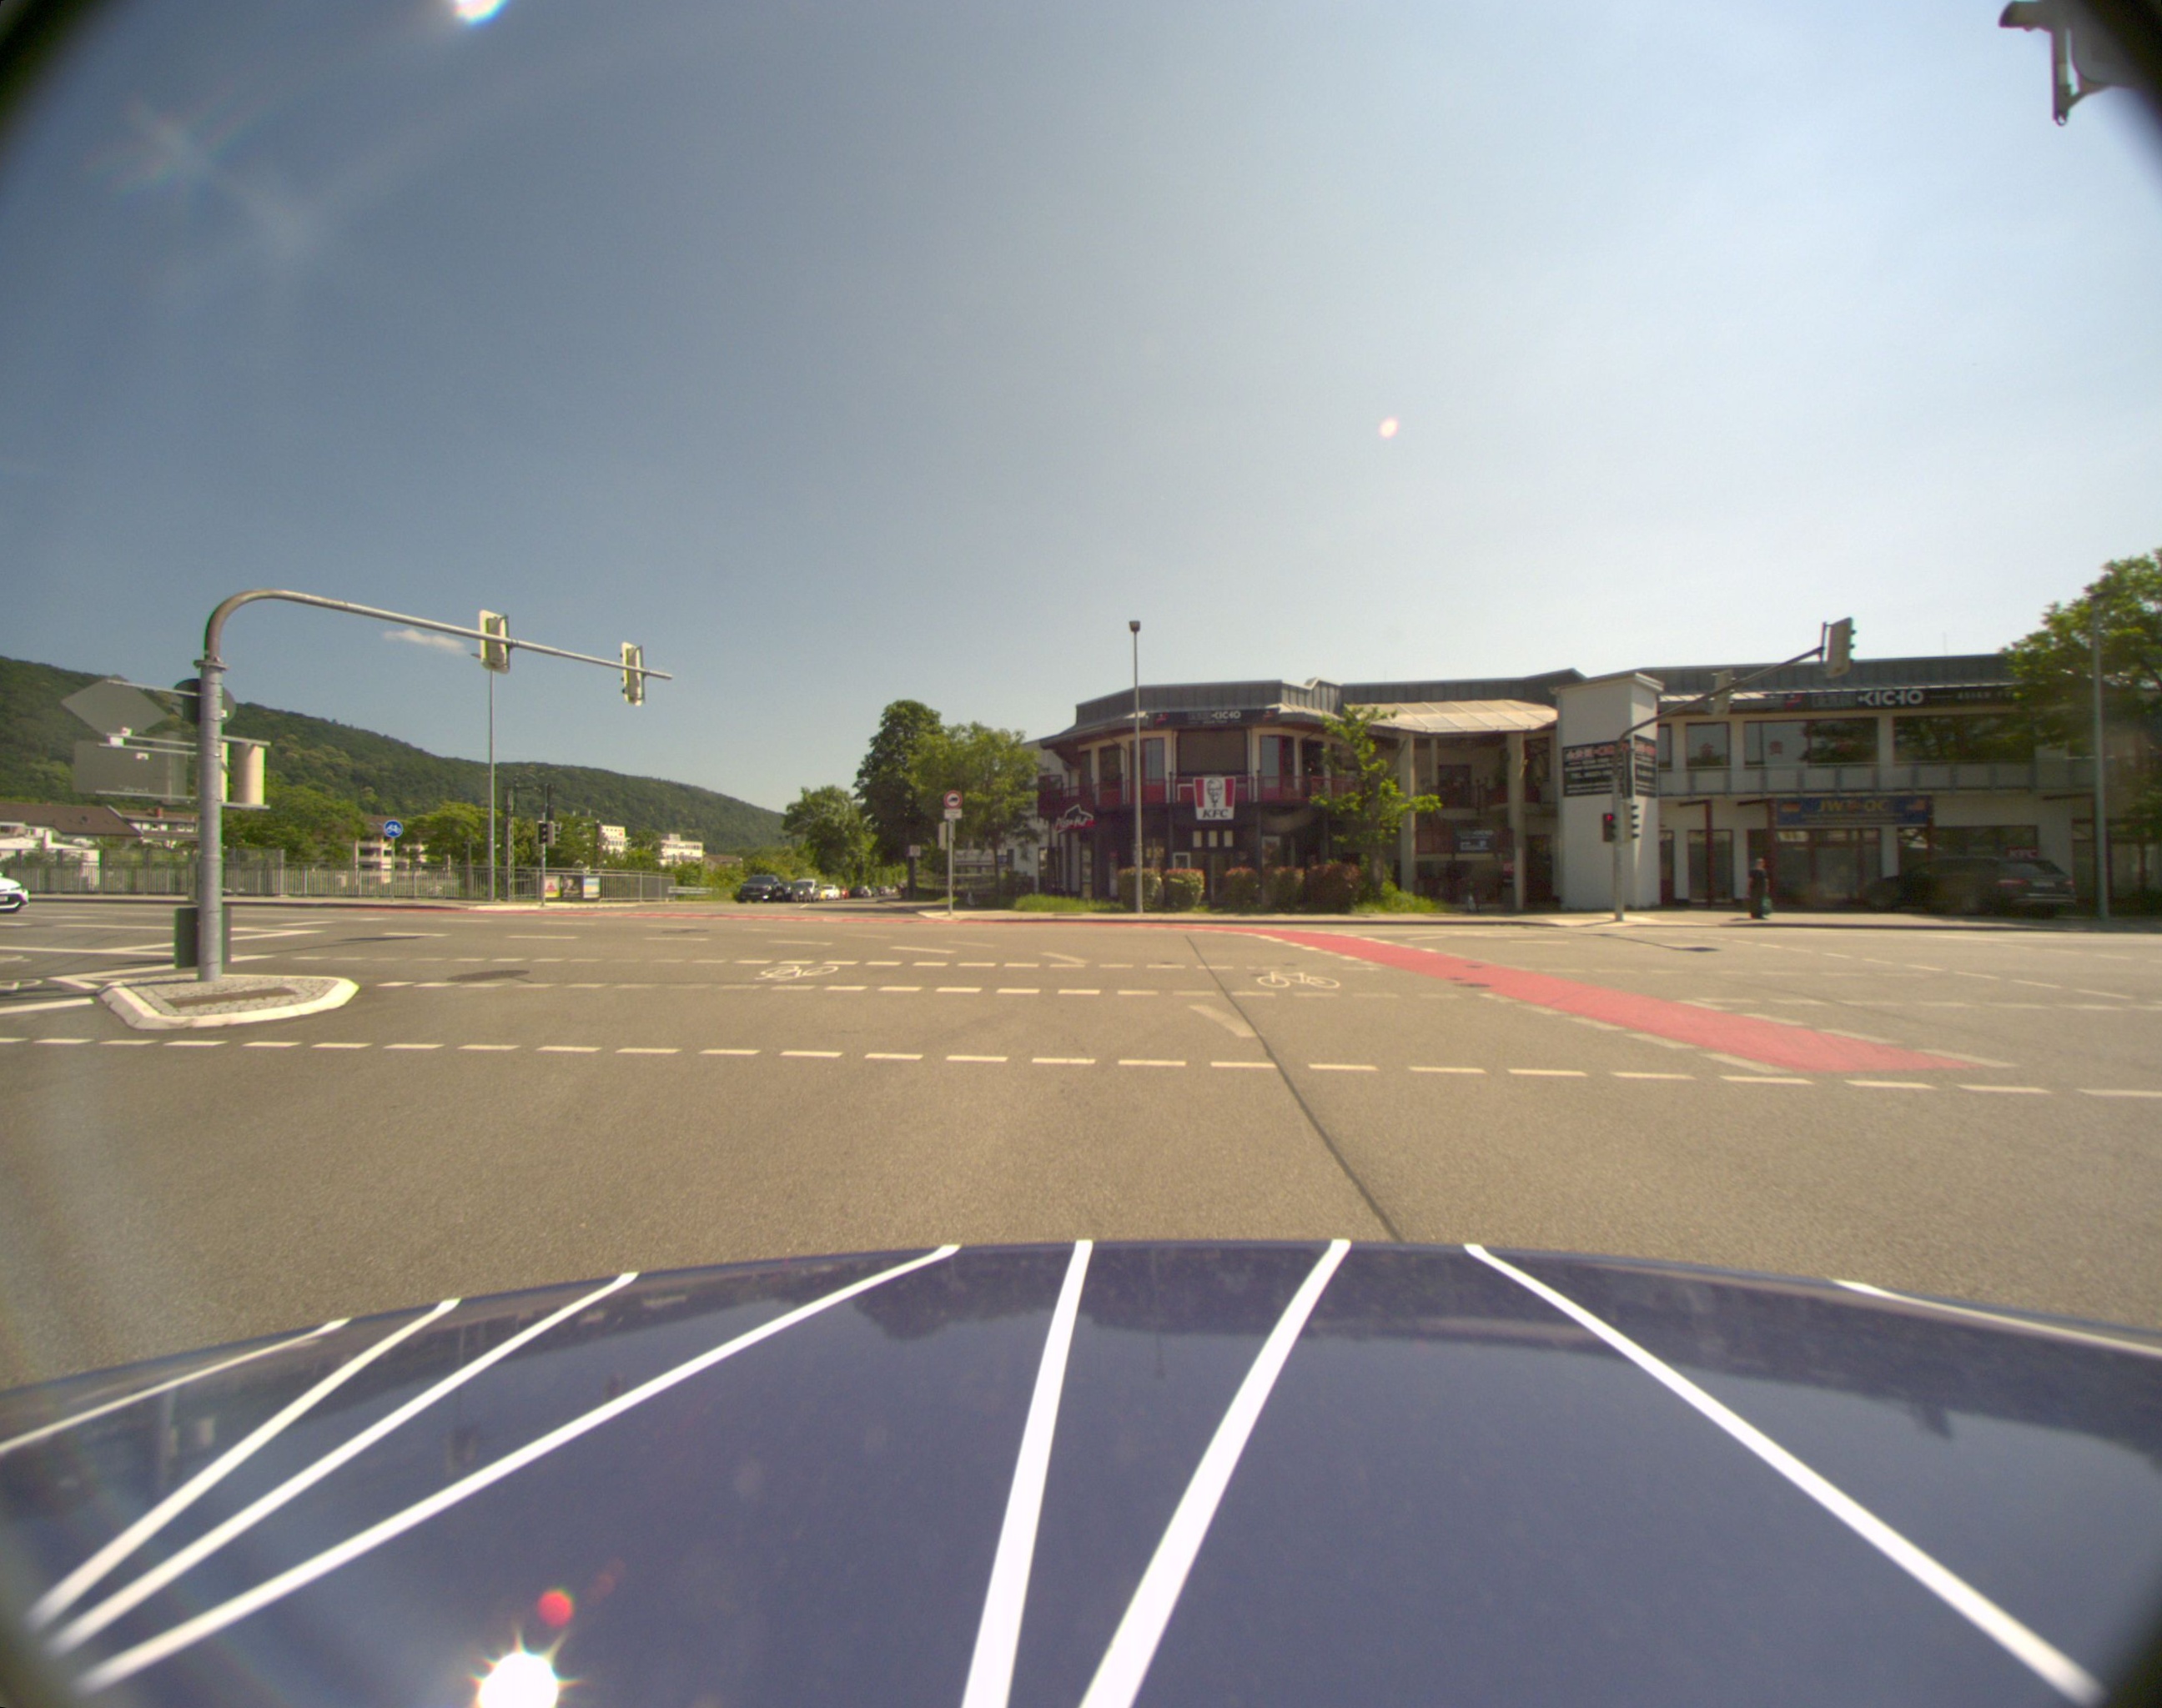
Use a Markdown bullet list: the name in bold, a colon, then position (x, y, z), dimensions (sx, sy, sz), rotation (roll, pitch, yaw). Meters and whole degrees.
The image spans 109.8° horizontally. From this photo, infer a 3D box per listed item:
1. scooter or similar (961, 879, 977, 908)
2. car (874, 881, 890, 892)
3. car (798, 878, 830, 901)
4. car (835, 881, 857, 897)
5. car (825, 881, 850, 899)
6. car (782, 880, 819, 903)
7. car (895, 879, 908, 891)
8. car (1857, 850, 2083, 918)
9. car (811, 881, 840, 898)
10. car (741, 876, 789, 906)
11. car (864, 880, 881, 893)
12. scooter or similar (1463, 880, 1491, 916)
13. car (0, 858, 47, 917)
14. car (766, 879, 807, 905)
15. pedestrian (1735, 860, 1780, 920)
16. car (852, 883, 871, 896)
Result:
- **scooter or similar**: position (-4.565, 1.595, 31.051), dimensions (0.427, 1.116, 1.452), rotation (0, -1, 1)
- **car**: position (-27.661, 4.513, 105.640), dimensions (1.673, 1.523, 3.997), rotation (0, -1, -9)
- **car**: position (-20.713, 2.737, 59.098), dimensions (1.673, 1.625, 3.997), rotation (0, -1, -9)
- **car**: position (-24.157, 3.577, 78.207), dimensions (1.673, 1.427, 3.997), rotation (0, -1, -9)
- **car**: position (-22.721, 3.331, 71.036), dimensions (1.673, 1.523, 3.997), rotation (0, -1, -9)
- **car**: position (-19.829, 2.623, 53.850), dimensions (1.673, 1.523, 3.997), rotation (0, -1, -9)
- **car**: position (-28.933, 4.987, 122.396), dimensions (1.673, 1.718, 3.997), rotation (-4, 0, -10)
- **car**: position (26.876, 0.865, 23.275), dimensions (1.806, 1.844, 4.662), rotation (0, -1, 7)
- **car**: position (-21.557, 2.995, 64.258), dimensions (1.673, 1.309, 3.997), rotation (0, -1, -9)
- **car**: position (-18.118, 2.083, 43.755), dimensions (1.832, 1.617, 4.233), rotation (0, -1, -12)
- **car**: position (-27.110, 4.236, 99.046), dimensions (1.673, 1.524, 3.997), rotation (-4, 0, -10)
- **scooter or similar**: position (12.945, 1.419, 24.877), dimensions (0.500, 1.116, 1.506), rotation (0, -1, 16)
- **car**: position (-28.985, 0.849, 19.006), dimensions (4.404, 1.460, 1.738), rotation (0, -1, 7)
- **car**: position (-18.918, 2.395, 48.915), dimensions (1.673, 1.523, 3.997), rotation (0, -1, -9)
- **pedestrian**: position (18.897, 0.990, 21.237), dimensions (0.732, 1.635, 0.843), rotation (0, 0, 27)
- **car**: position (-25.623, 4.133, 88.734), dimensions (1.673, 1.427, 3.997), rotation (0, -1, -9)
